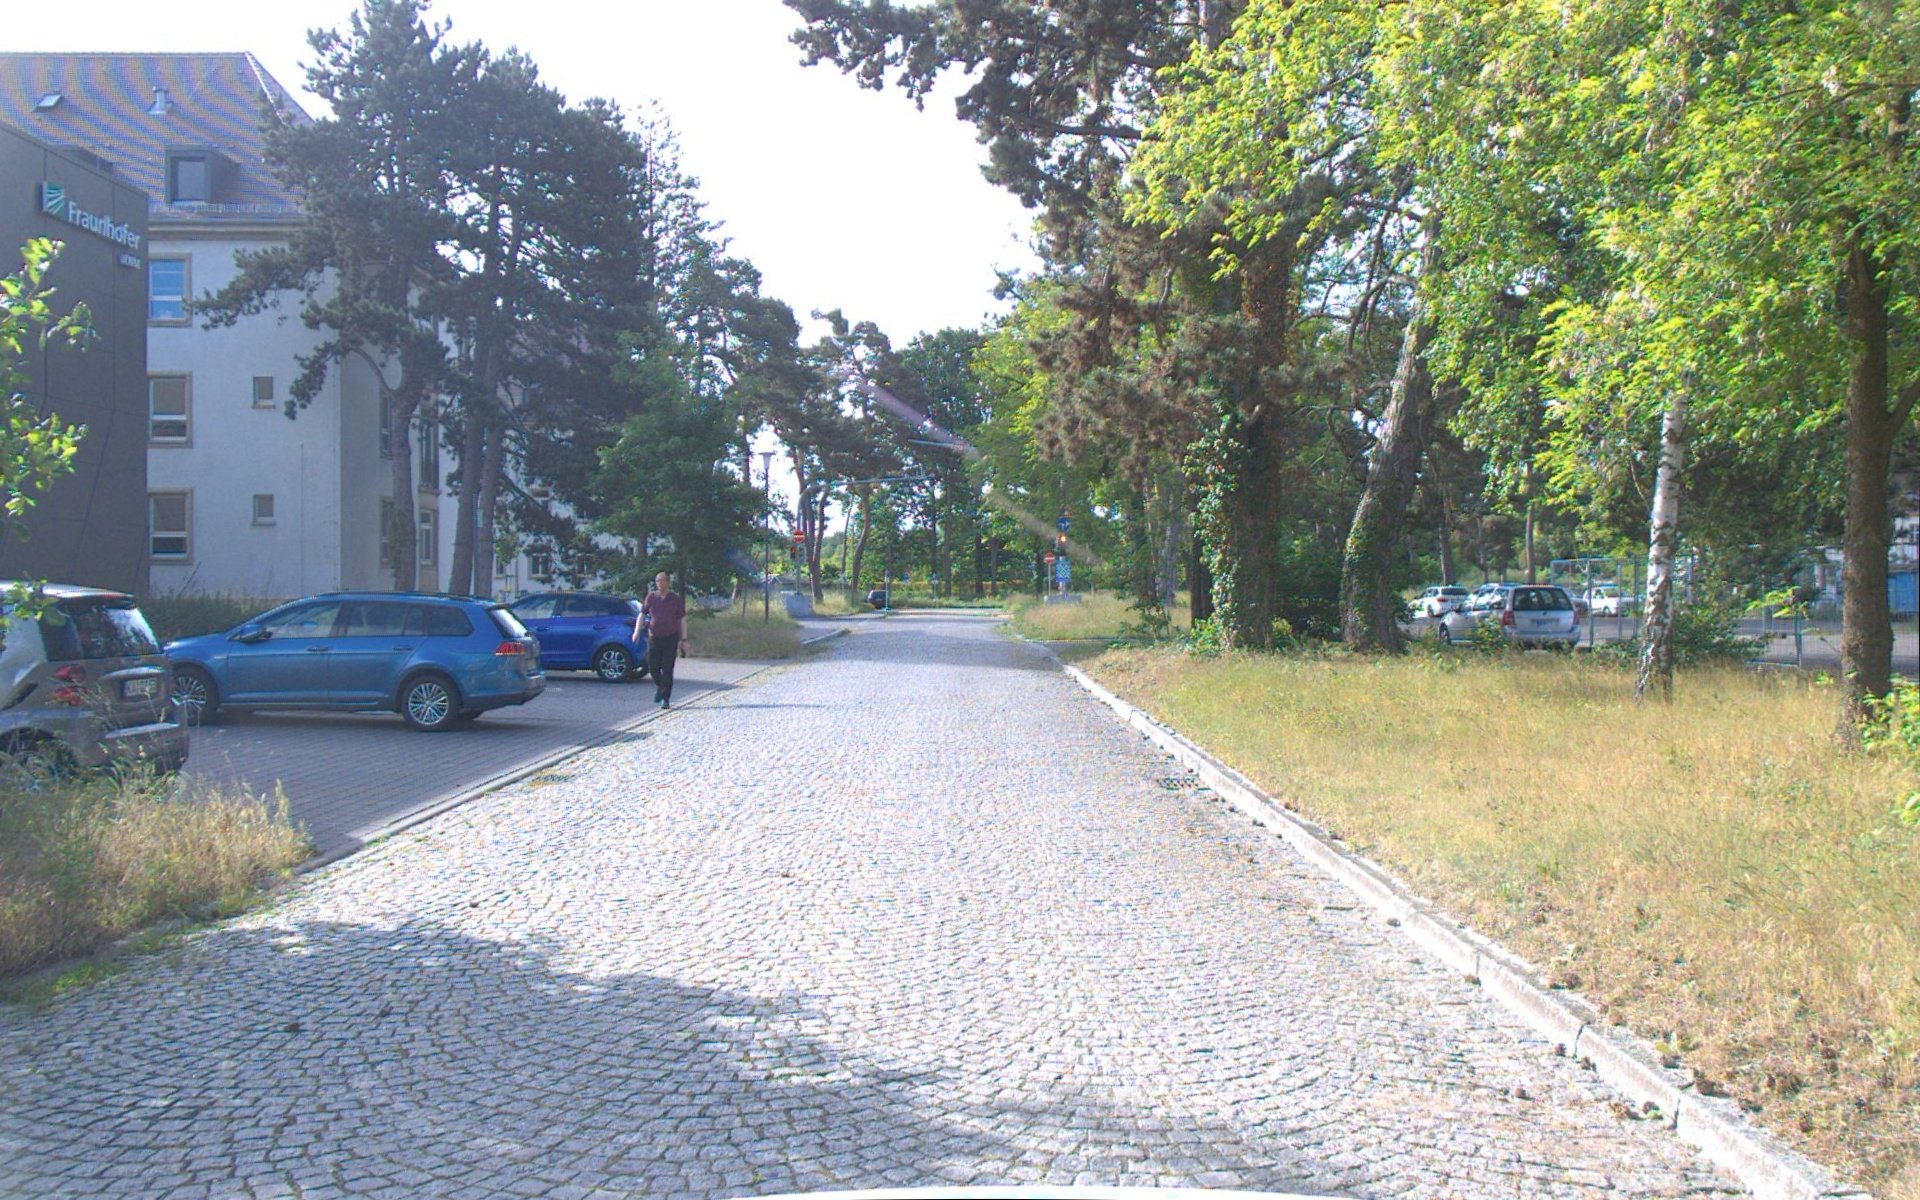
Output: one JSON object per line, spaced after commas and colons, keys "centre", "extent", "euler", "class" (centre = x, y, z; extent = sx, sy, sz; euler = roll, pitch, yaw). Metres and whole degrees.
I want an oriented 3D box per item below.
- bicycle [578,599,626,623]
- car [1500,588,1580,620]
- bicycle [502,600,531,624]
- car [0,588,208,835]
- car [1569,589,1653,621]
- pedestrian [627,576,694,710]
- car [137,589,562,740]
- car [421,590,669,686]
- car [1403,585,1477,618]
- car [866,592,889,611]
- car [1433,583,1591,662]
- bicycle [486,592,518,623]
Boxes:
{"centre": [-16.636, 0.514, 76.983], "extent": [2.075, 1.065, 0.828], "euler": [0, 0, -4], "class": "bicycle"}
{"centre": [25.052, 0.163, 71.567], "extent": [1.697, 1.335, 4.328], "euler": [0, 0, -4], "class": "car"}
{"centre": [-20.921, 0.563, 78.048], "extent": [0.809, 1.065, 2.124], "euler": [0, 0, 0], "class": "bicycle"}
{"centre": [-6.890, 0.700, 11.432], "extent": [2.644, 1.569, 1.518], "euler": [1, 0, -1], "class": "car"}
{"centre": [28.313, 0.197, 72.070], "extent": [1.696, 1.335, 4.329], "euler": [-1, 0, -4], "class": "car"}
{"centre": [-4.132, 0.575, 22.883], "extent": [0.788, 1.802, 1.152], "euler": [0, 0, -4], "class": "pedestrian"}
{"centre": [-6.807, 0.702, 18.758], "extent": [4.171, 1.489, 1.680], "euler": [2, 2, -3], "class": "car"}
{"centre": [-7.054, 0.631, 28.361], "extent": [3.756, 1.489, 1.720], "euler": [1, 0, 2], "class": "car"}
{"centre": [20.596, 0.046, 71.092], "extent": [1.696, 1.335, 4.329], "euler": [0, 0, -4], "class": "car"}
{"centre": [-6.712, 0.088, 134.552], "extent": [1.808, 1.512, 3.998], "euler": [0, 0, -3], "class": "car"}
{"centre": [11.037, 0.414, 33.358], "extent": [1.634, 1.493, 3.997], "euler": [0, 0, -4], "class": "car"}
{"centre": [-21.700, 0.335, 78.380], "extent": [0.809, 1.462, 2.553], "euler": [0, 0, 0], "class": "bicycle"}
